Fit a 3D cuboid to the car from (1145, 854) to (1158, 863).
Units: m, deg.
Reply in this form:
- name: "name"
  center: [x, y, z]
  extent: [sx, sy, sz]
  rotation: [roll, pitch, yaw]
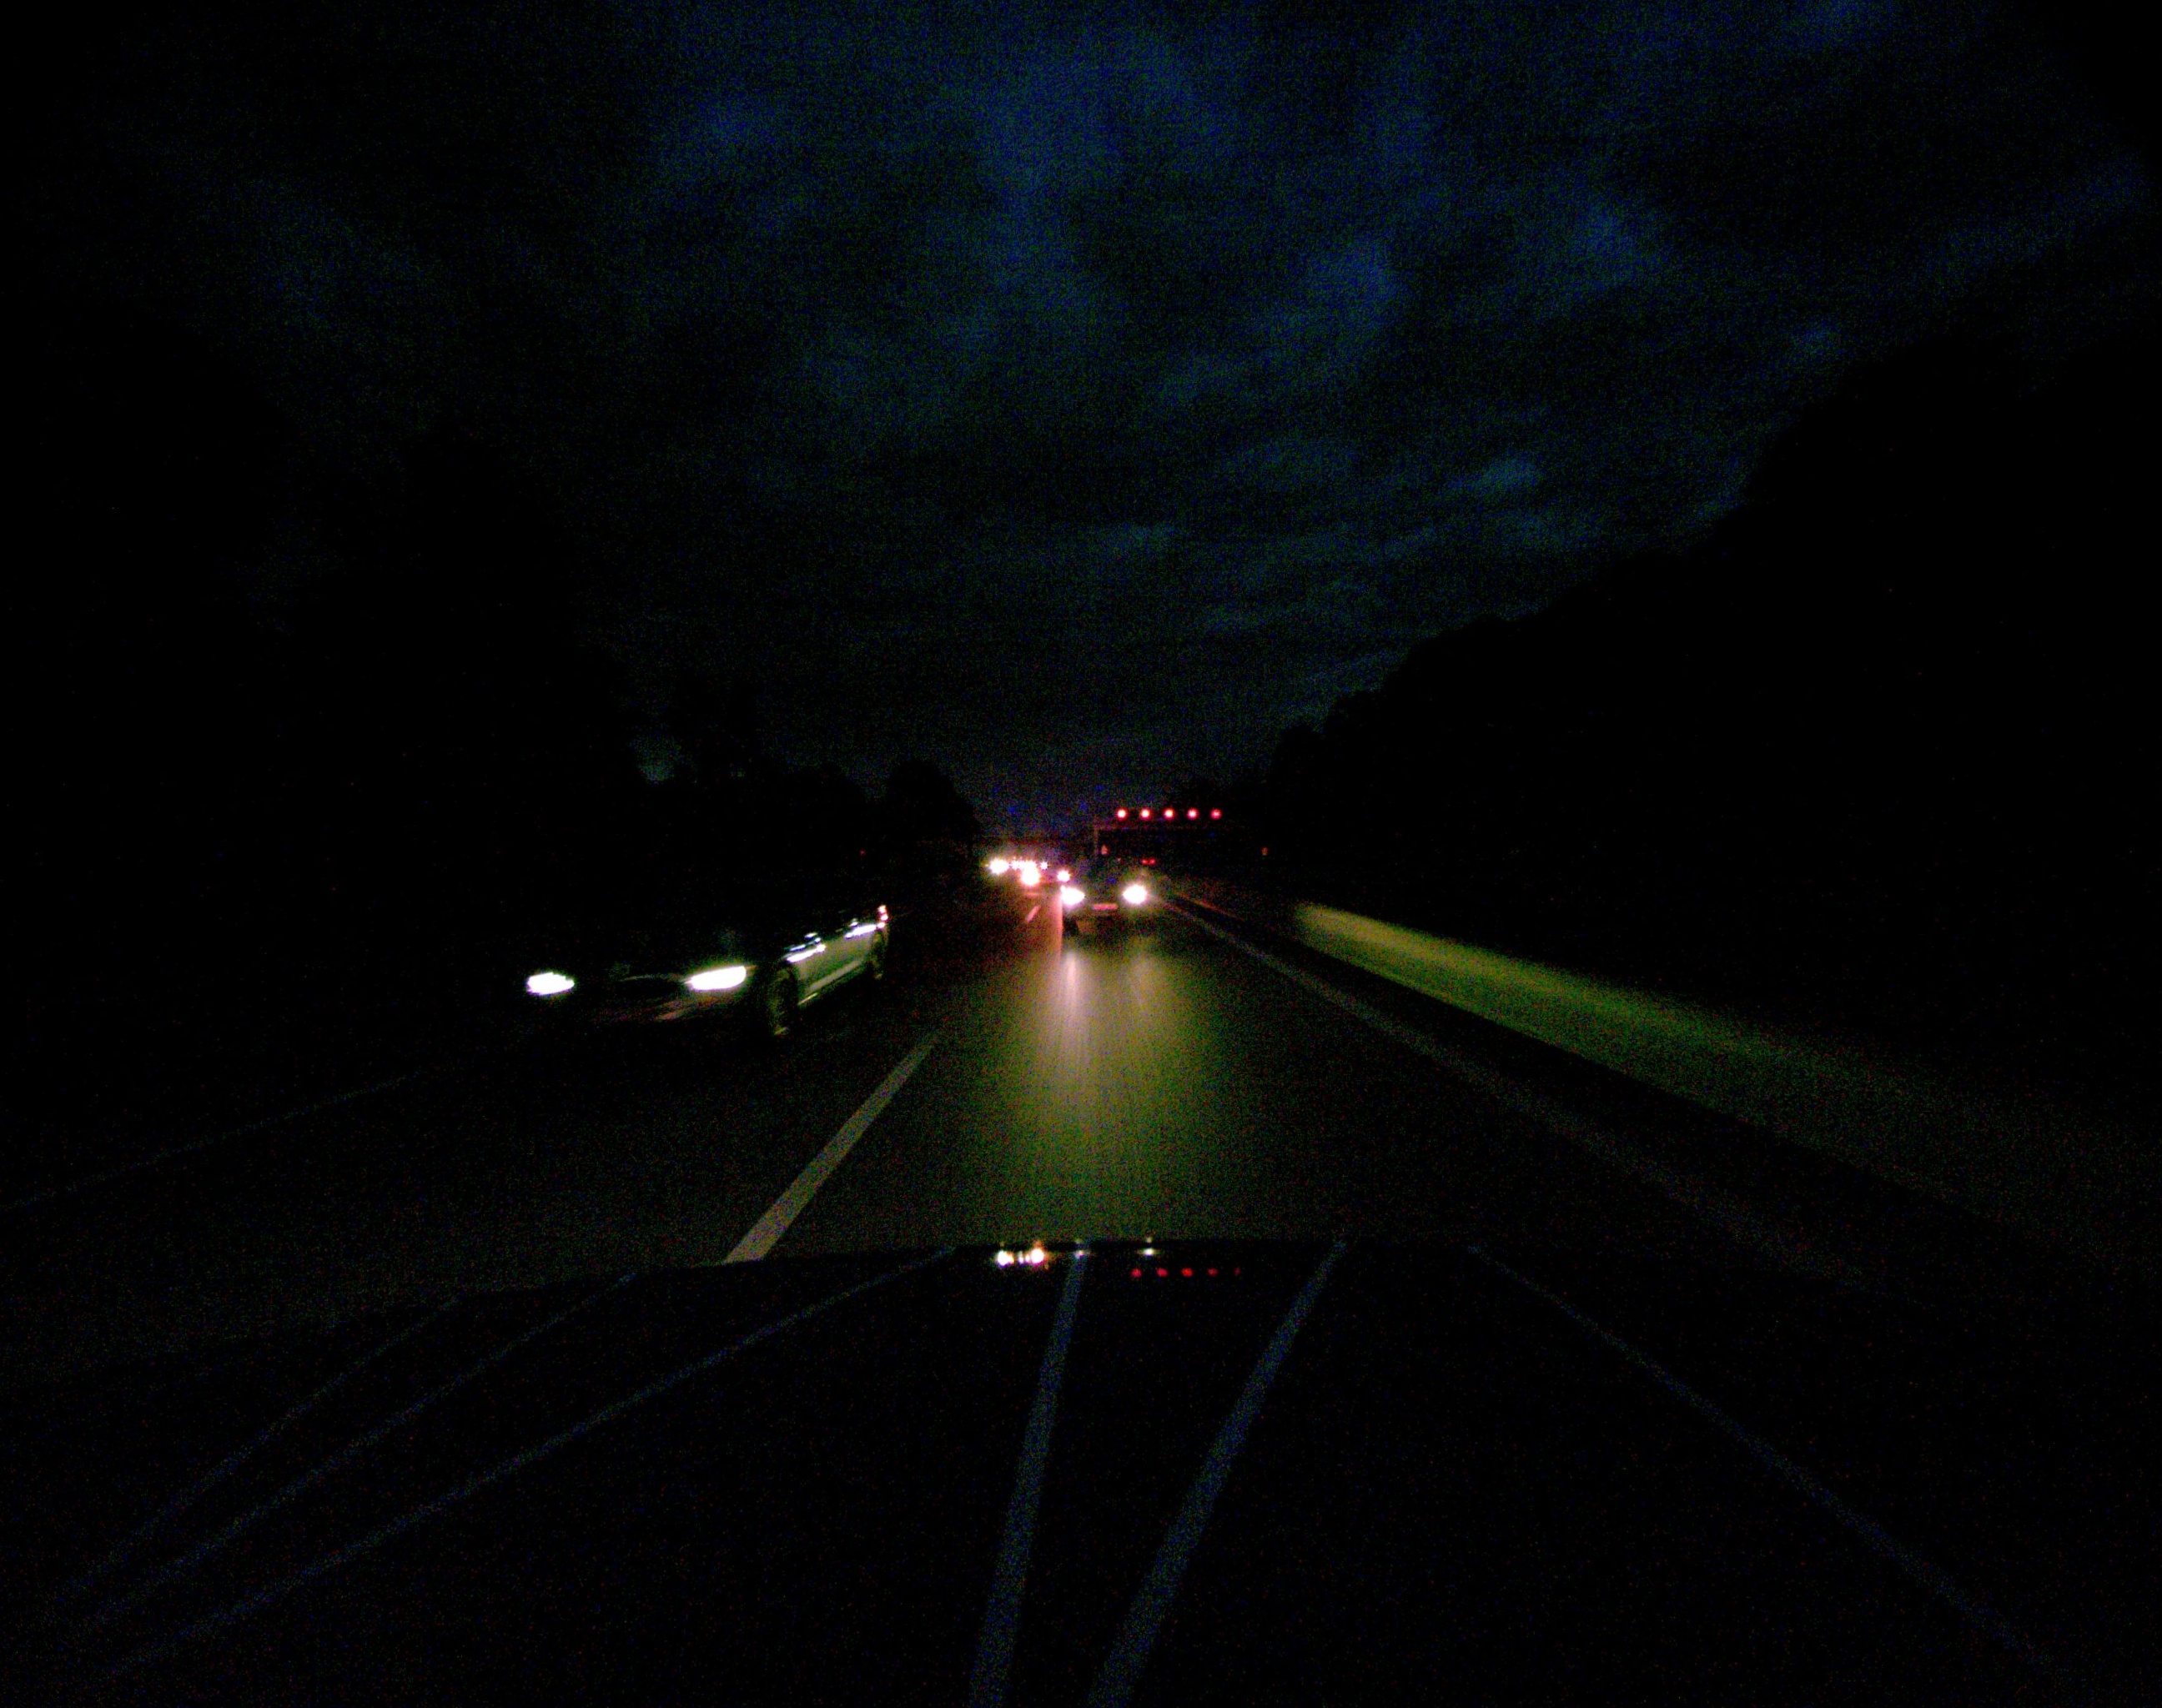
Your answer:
- name: "car"
  center: [11.191, 0.657, 121.334]
  extent: [1.623, 1.397, 4.315]
  rotation: [-1, 0, -1]

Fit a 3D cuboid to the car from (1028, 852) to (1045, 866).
- name: "car"
  center: [-5.301, 0.658, 90.701]
  extent: [1.999, 1.539, 4.000]
  rotation: [-1, -1, -3]

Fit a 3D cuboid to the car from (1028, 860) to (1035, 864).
- name: "car"
  center: [-16.448, 2.723, 252.819]
  extent: [1.820, 1.372, 4.196]
  rotation: [-1, -1, -8]

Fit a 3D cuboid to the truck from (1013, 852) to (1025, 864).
- name: "truck"
  center: [-20.144, 1.346, 247.933]
  extent: [3.147, 3.986, 10.538]
  rotation: [-1, -1, -9]

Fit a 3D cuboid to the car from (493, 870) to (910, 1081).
- name: "car"
  center: [-3.404, 0.957, 8.257]
  extent: [1.914, 1.528, 5.232]
  rotation: [-1, -1, 0]

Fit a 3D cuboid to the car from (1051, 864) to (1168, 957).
- name: "car"
  center: [0.482, 0.955, 14.609]
  extent: [1.879, 1.435, 4.451]
  rotation: [-1, 0, 0]

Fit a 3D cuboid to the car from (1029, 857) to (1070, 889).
- name: "car"
  center: [-1.470, 0.882, 37.339]
  extent: [1.813, 1.457, 5.132]
  rotation: [-1, 0, 0]
